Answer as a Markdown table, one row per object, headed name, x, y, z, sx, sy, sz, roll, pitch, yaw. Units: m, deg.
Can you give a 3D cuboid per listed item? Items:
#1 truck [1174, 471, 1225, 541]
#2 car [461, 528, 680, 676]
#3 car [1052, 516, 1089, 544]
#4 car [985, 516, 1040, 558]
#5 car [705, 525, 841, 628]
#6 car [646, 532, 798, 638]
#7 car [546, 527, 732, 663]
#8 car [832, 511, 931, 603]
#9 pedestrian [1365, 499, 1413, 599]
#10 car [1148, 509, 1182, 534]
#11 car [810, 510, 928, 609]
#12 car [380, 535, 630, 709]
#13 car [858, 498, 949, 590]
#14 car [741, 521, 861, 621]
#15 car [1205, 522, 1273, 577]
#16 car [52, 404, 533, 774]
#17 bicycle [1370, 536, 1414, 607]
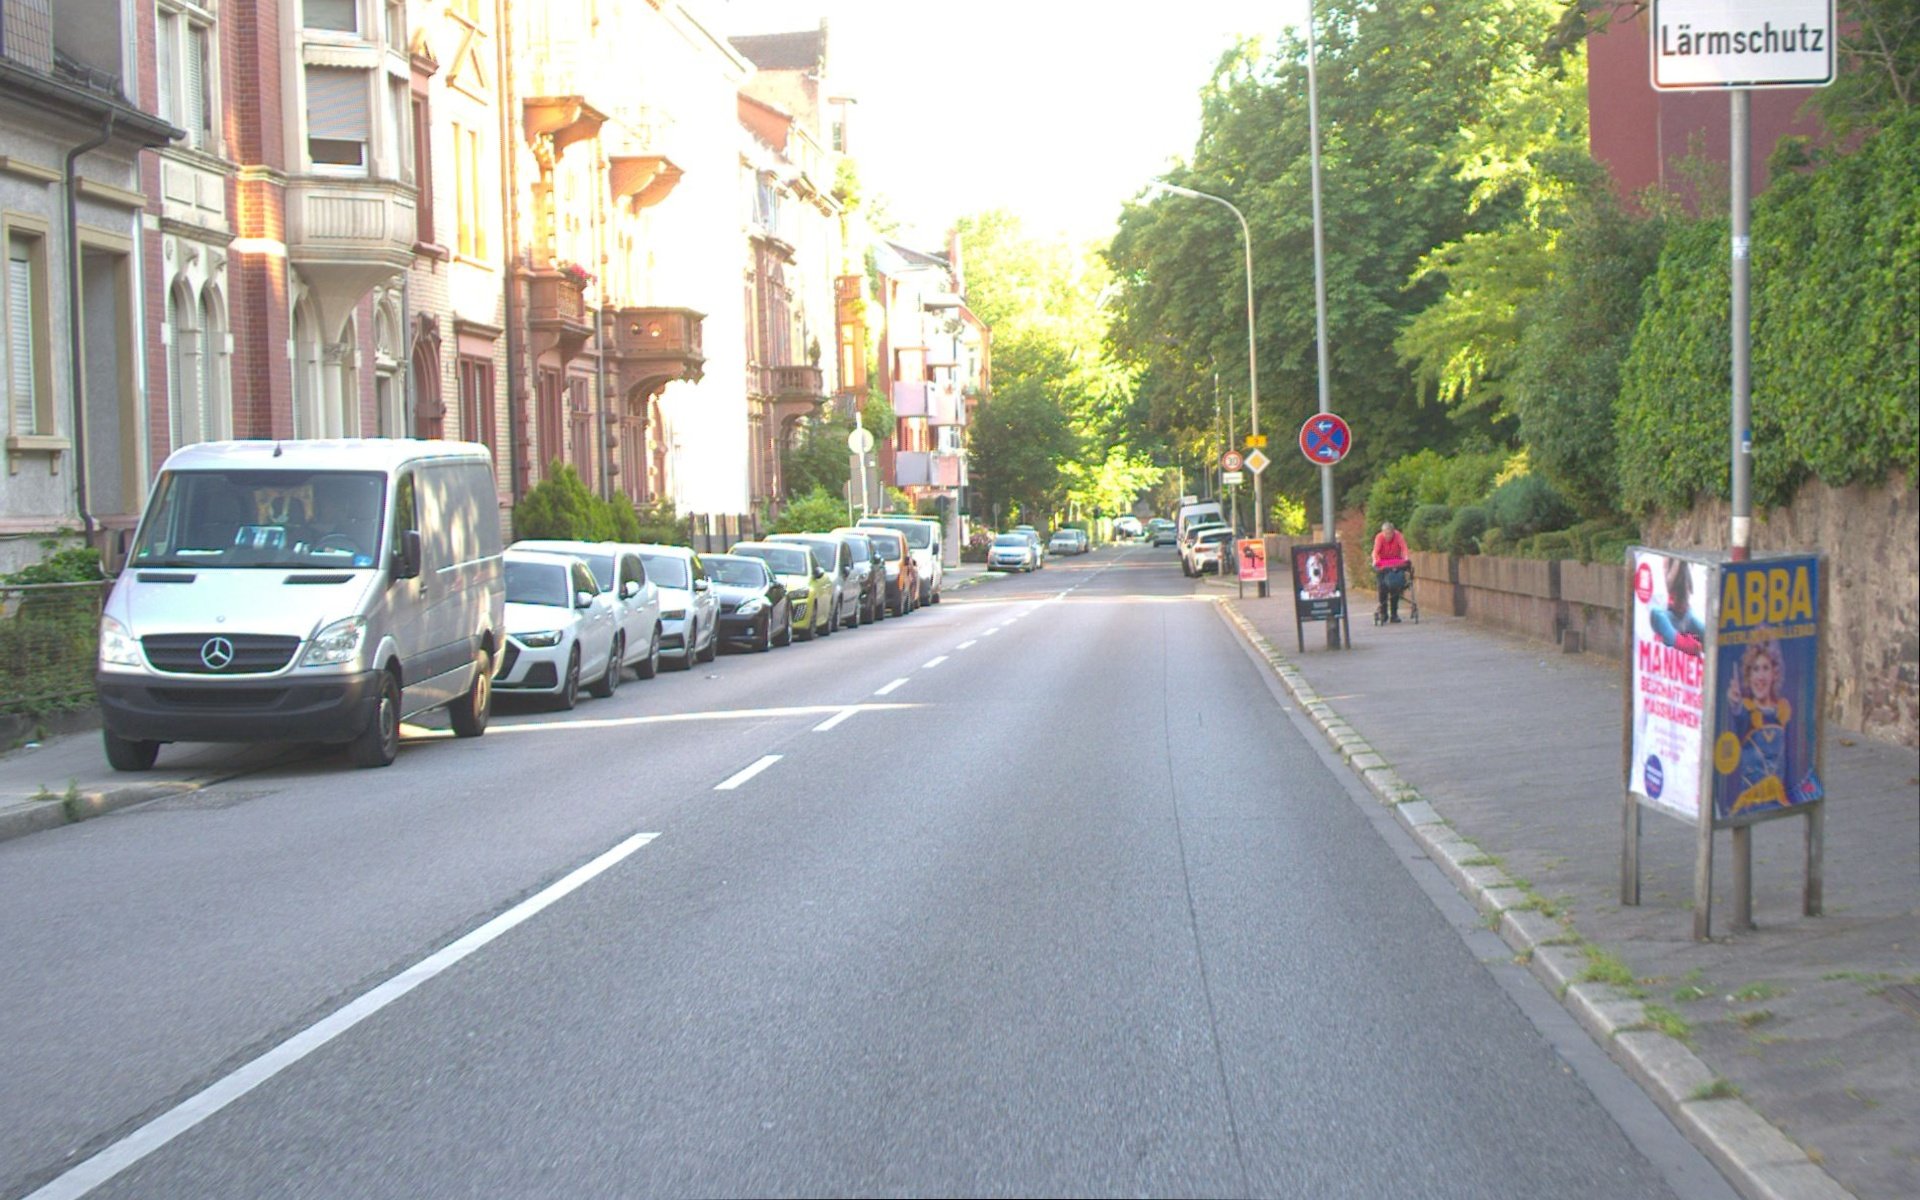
| name | x | y | z | sx | sy | sz | roll | pitch | yaw |
| --- | --- | --- | --- | --- | --- | --- | --- | --- | --- |
| truck | 10.307 | -4.075 | 148.150 | 1.994 | 2.886 | 4.470 | -3 | 2 | 3 |
| car | -4.253 | -0.023 | 38.093 | 1.702 | 1.497 | 4.020 | -1 | 2 | 4 |
| car | 6.652 | -4.240 | 206.527 | 1.994 | 1.486 | 4.470 | -3 | 2 | 3 |
| car | 2.153 | -2.569 | 139.767 | 1.994 | 1.486 | 4.470 | -3 | 2 | 3 |
| car | -2.848 | -0.363 | 53.057 | 1.702 | 1.497 | 4.072 | -1 | 0 | 2 |
| car | -3.281 | -0.242 | 47.998 | 1.702 | 1.362 | 3.860 | -1 | 2 | 2 |
| car | -3.933 | -0.104 | 42.795 | 1.702 | 1.531 | 4.549 | -1 | 2 | 2 |
| car | -1.521 | -0.872 | 68.125 | 1.702 | 1.732 | 3.857 | -1 | 2 | 2 |
| pedestrian | 6.111 | -0.734 | 48.989 | 0.597 | 1.398 | 0.668 | -1 | 2 | 2 |
| car | 13.848 | -5.319 | 232.187 | 1.993 | 1.486 | 4.471 | -3 | 2 | 0 |
| car | -1.631 | -0.772 | 63.112 | 1.703 | 1.702 | 4.440 | -1 | 2 | 4 |
| car | -4.255 | 0.160 | 32.667 | 1.702 | 1.497 | 3.823 | -1 | 2 | 2 |
| car | -1.267 | -1.316 | 78.840 | 1.793 | 2.003 | 4.698 | -1 | 2 | 2 |
| car | -2.648 | -0.517 | 58.060 | 1.702 | 1.578 | 3.635 | -1 | 2 | 2 |
| car | 8.684 | -1.581 | 106.939 | 1.994 | 1.512 | 4.000 | -3 | 2 | 5 |
| car | -4.836 | -0.164 | 25.977 | 2.068 | 2.452 | 6.014 | -1 | 2 | 4 |
| bicycle | 6.082 | -0.402 | 48.363 | 0.566 | 0.967 | 0.492 | -1 | 2 | 2 |
